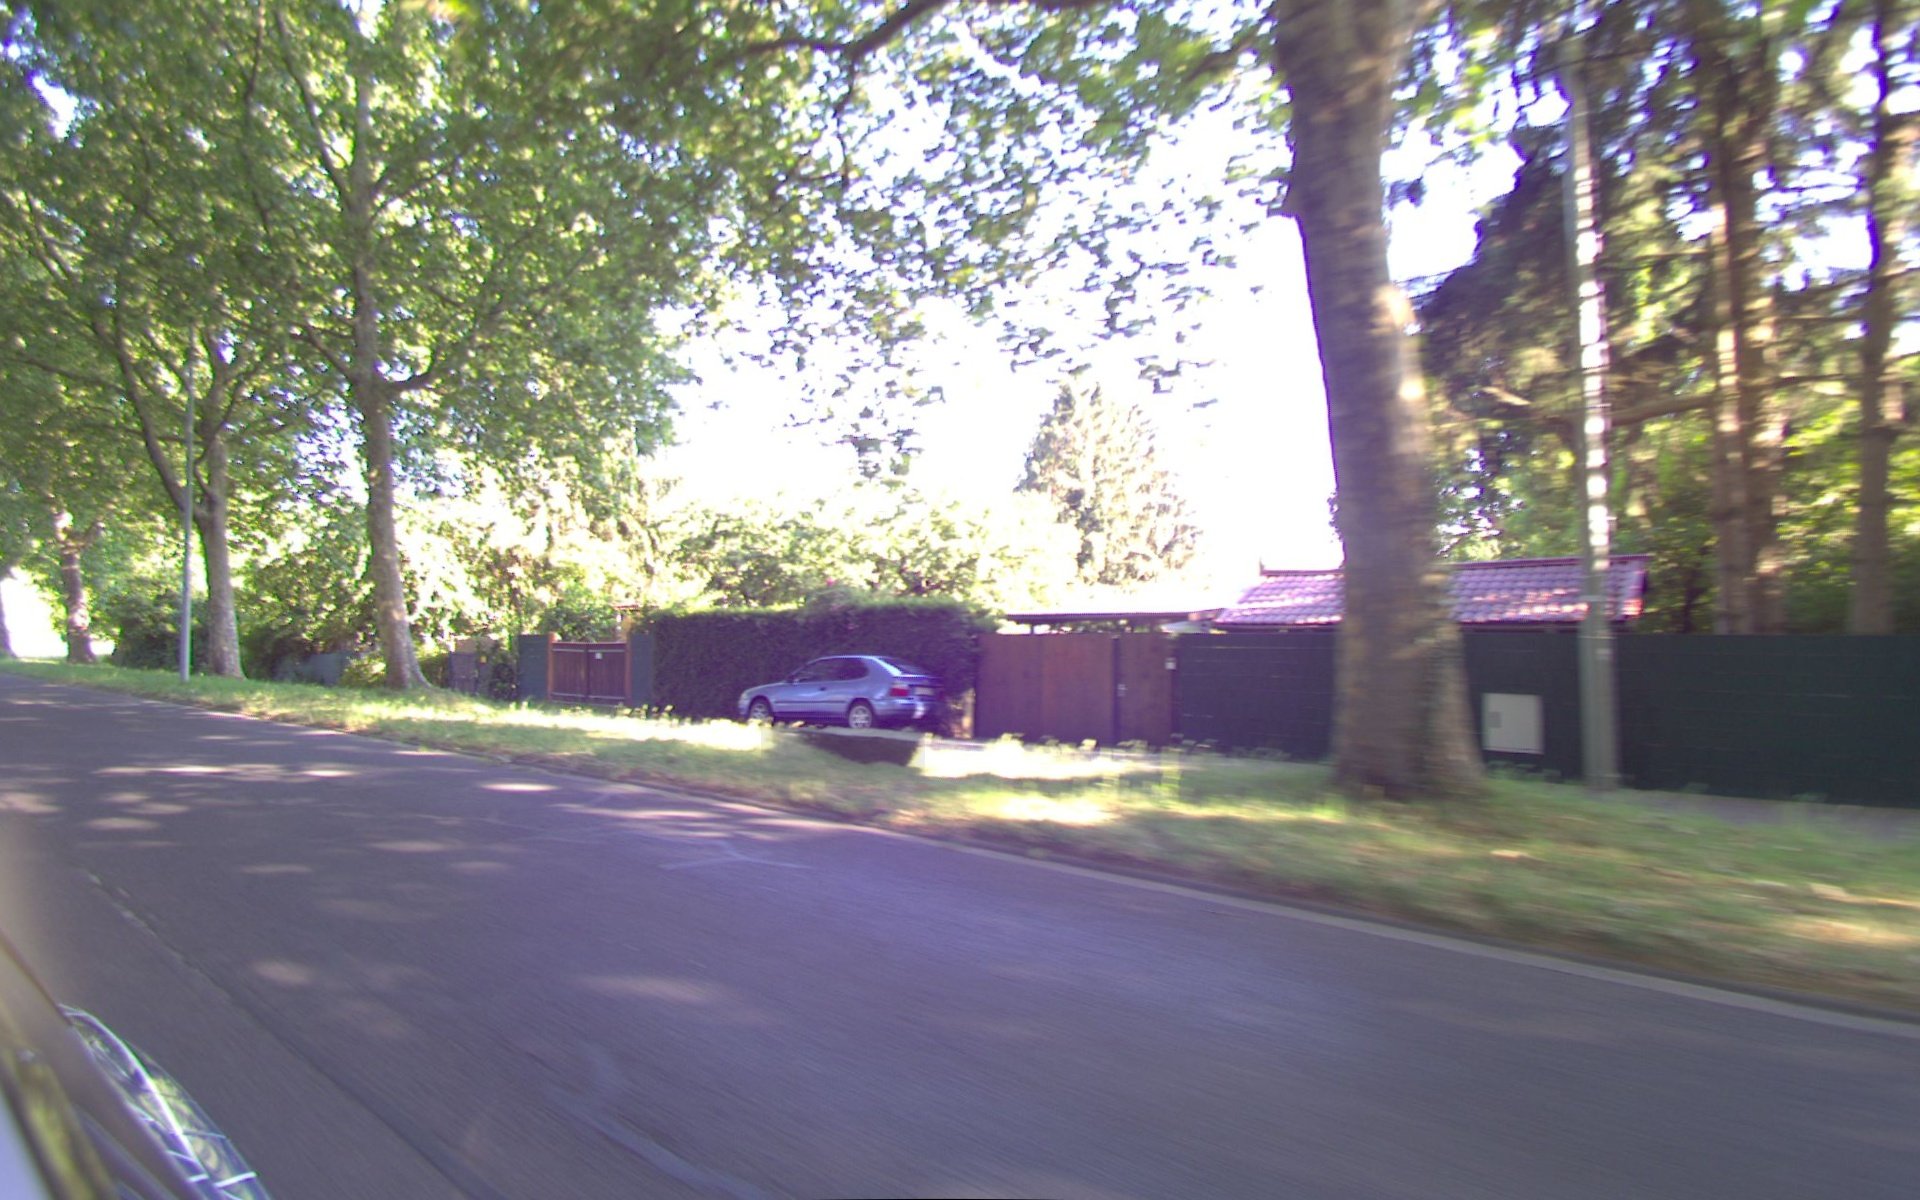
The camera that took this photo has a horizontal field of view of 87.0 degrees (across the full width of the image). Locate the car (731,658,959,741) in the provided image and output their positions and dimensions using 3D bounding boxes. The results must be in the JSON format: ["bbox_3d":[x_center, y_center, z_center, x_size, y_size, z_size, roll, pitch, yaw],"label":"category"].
[{"bbox_3d":[-2.135,1.722,18.255,3.993,1.314,1.736,-3,-4,37],"label":"car"}]
